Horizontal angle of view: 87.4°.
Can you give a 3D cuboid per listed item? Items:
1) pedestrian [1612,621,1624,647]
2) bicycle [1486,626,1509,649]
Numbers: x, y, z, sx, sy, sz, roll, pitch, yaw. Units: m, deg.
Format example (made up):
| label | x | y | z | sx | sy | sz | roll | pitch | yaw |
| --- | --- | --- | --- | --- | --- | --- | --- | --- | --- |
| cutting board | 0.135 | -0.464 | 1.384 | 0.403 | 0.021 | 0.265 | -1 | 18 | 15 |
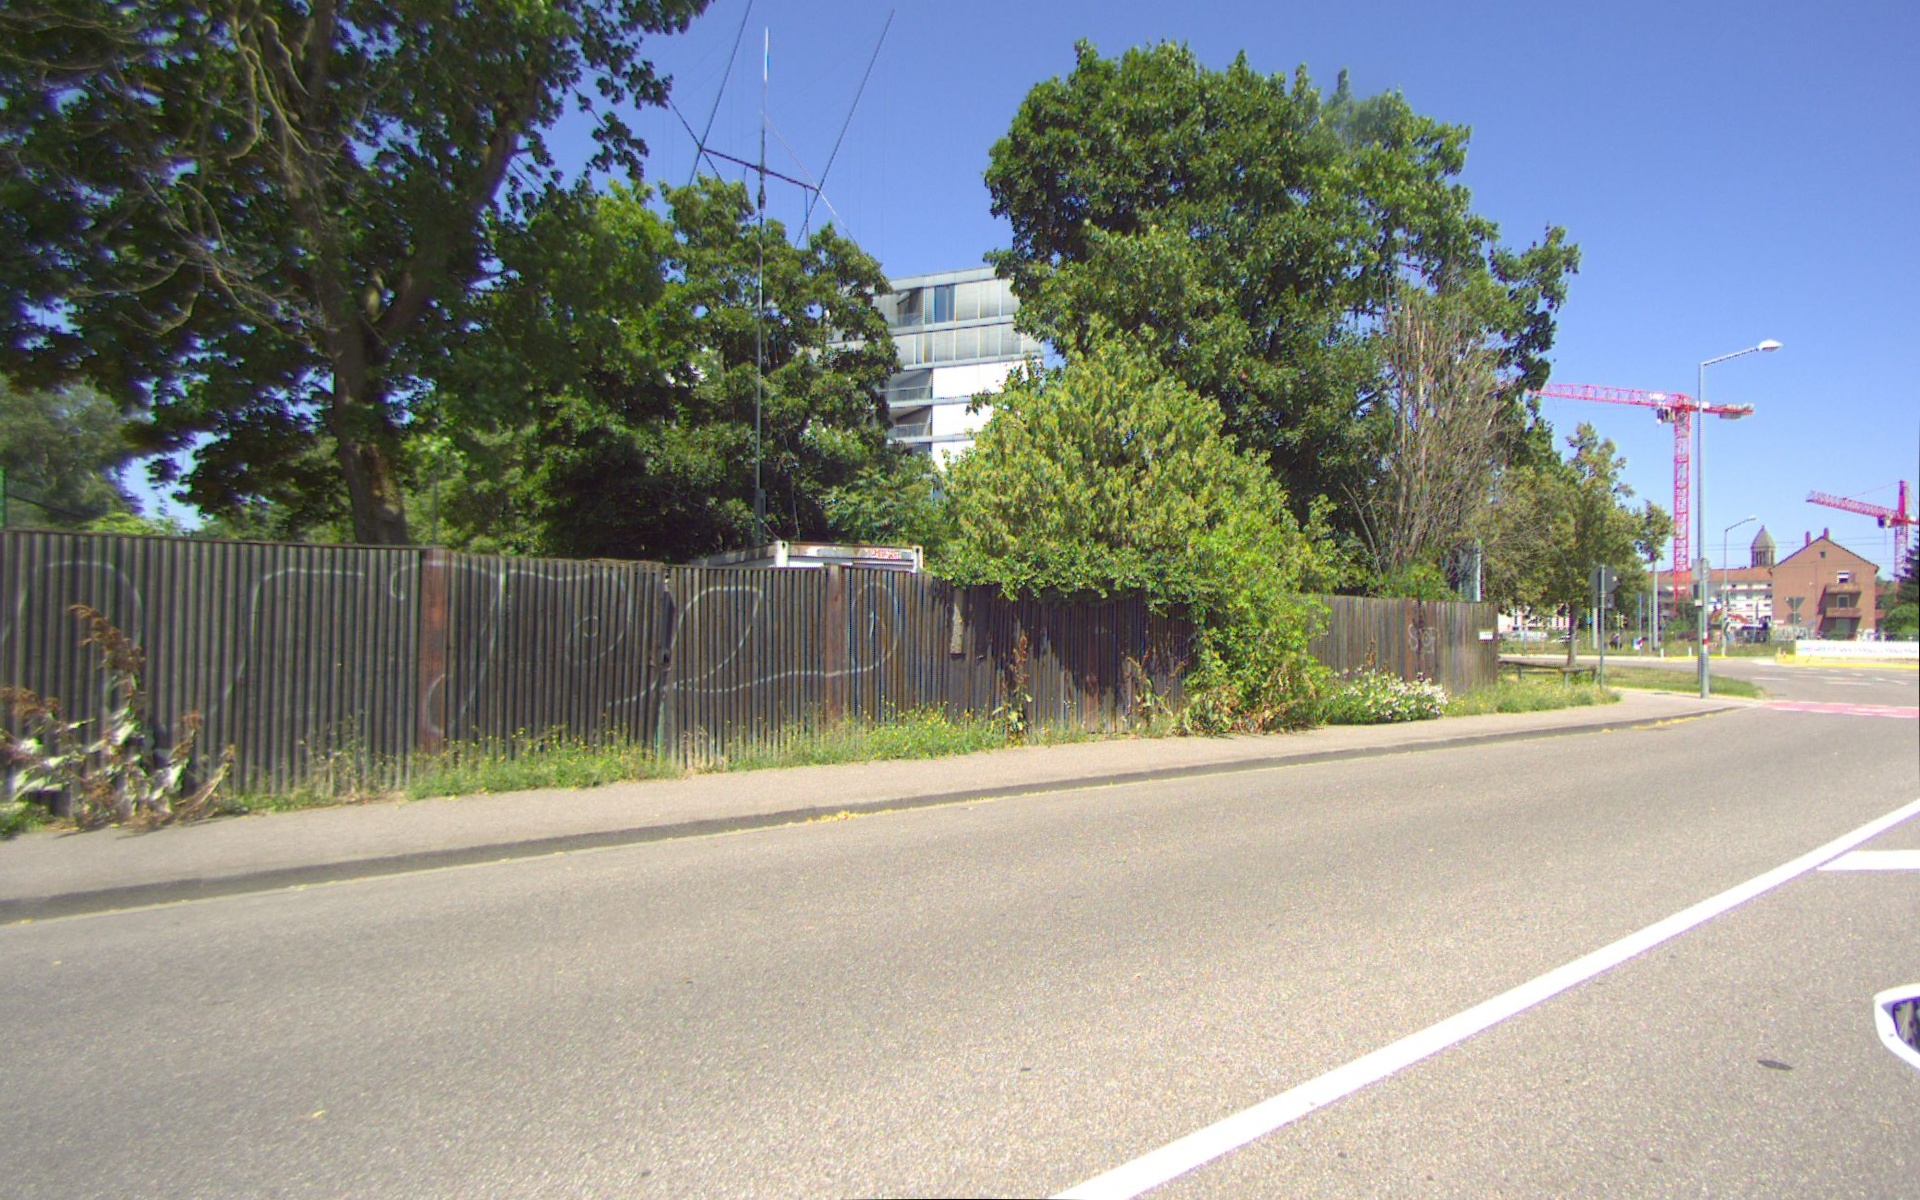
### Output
| label | x | y | z | sx | sy | sz | roll | pitch | yaw |
| --- | --- | --- | --- | --- | --- | --- | --- | --- | --- |
| pedestrian | 54.180 | 2.799 | 82.752 | 0.588 | 2.040 | 0.598 | 2 | 0 | -30 |
| bicycle | 40.249 | 2.819 | 75.228 | 2.062 | 1.707 | 0.555 | 2 | 0 | -32 |
